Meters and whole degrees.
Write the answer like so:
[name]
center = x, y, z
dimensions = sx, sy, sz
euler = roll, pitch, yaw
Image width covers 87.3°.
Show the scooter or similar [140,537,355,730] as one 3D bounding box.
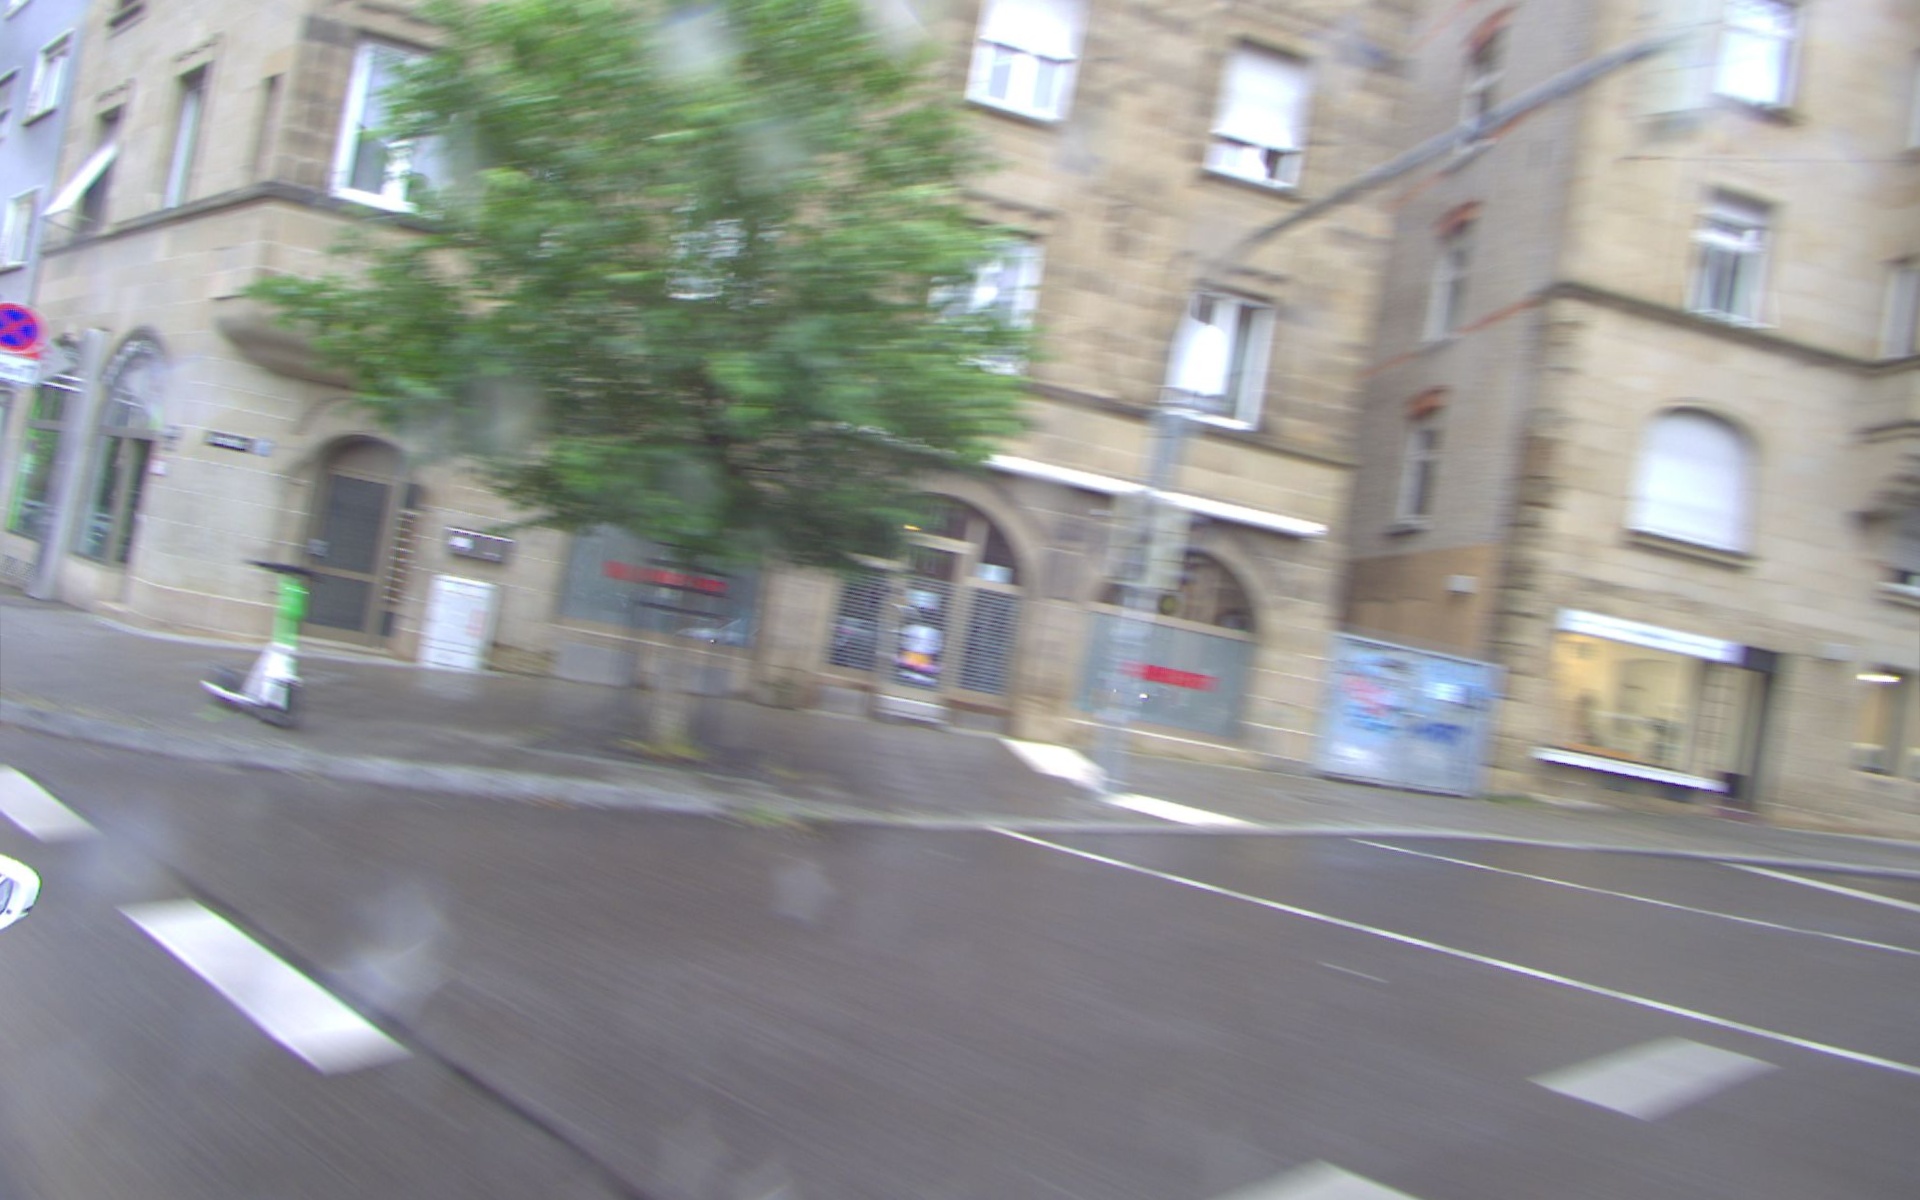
[scooter or similar]
center = -5.389, 0.239, 7.588
dimensions = 1.526, 1.224, 0.639
euler = 7, -1, 31
